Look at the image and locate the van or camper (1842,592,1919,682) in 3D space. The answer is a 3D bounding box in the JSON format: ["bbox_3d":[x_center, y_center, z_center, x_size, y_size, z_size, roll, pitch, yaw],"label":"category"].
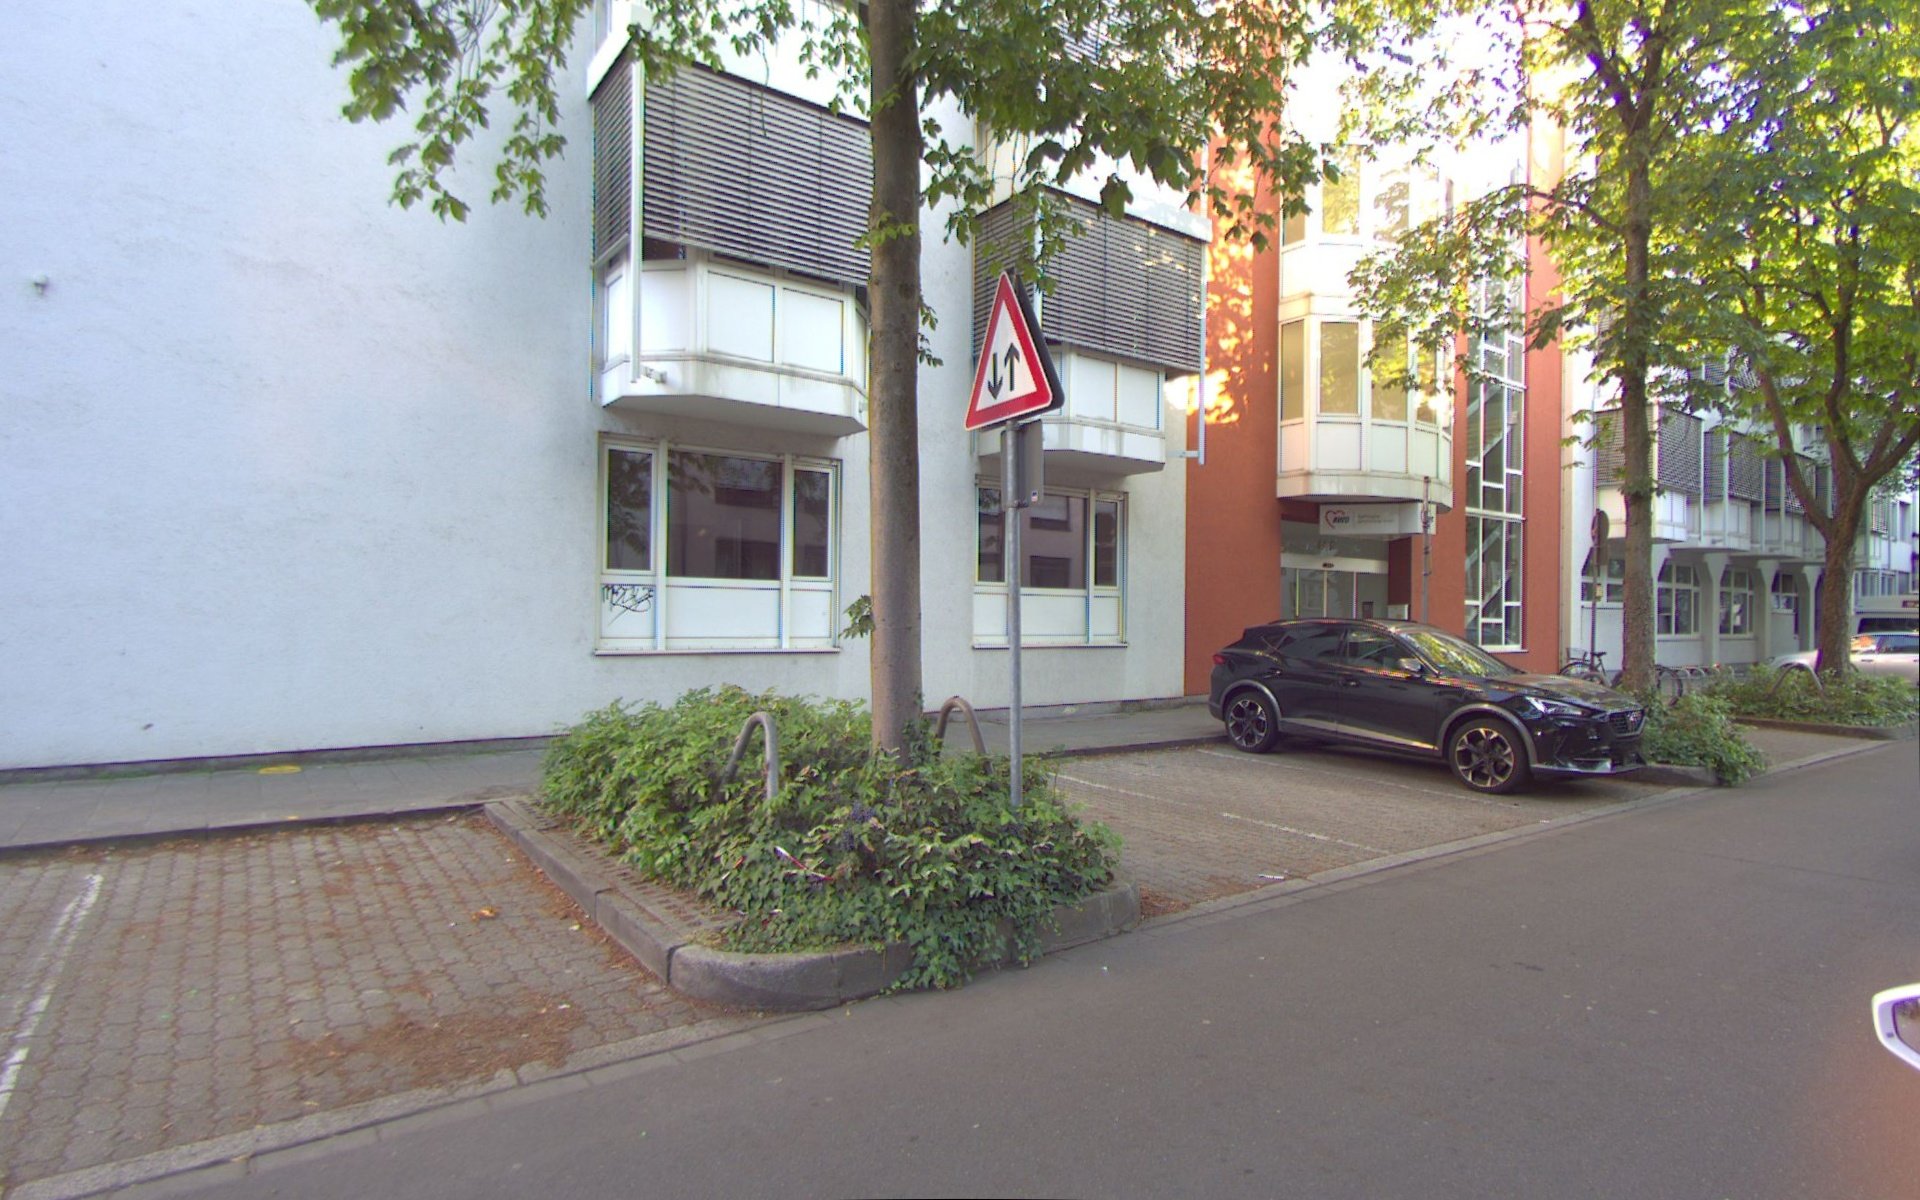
[{"bbox_3d":[27.897,1.038,28.046,1.981,2.511,4.632,1,-1,-36],"label":"van or camper"}]

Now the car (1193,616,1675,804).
[{"bbox_3d":[4.713,0.959,10.616,1.768,1.537,4.325,1,-1,-35],"label":"car"}]

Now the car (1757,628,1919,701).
[{"bbox_3d":[21.157,1.454,23.244,1.767,1.537,3.942,1,-1,-35],"label":"car"}]
